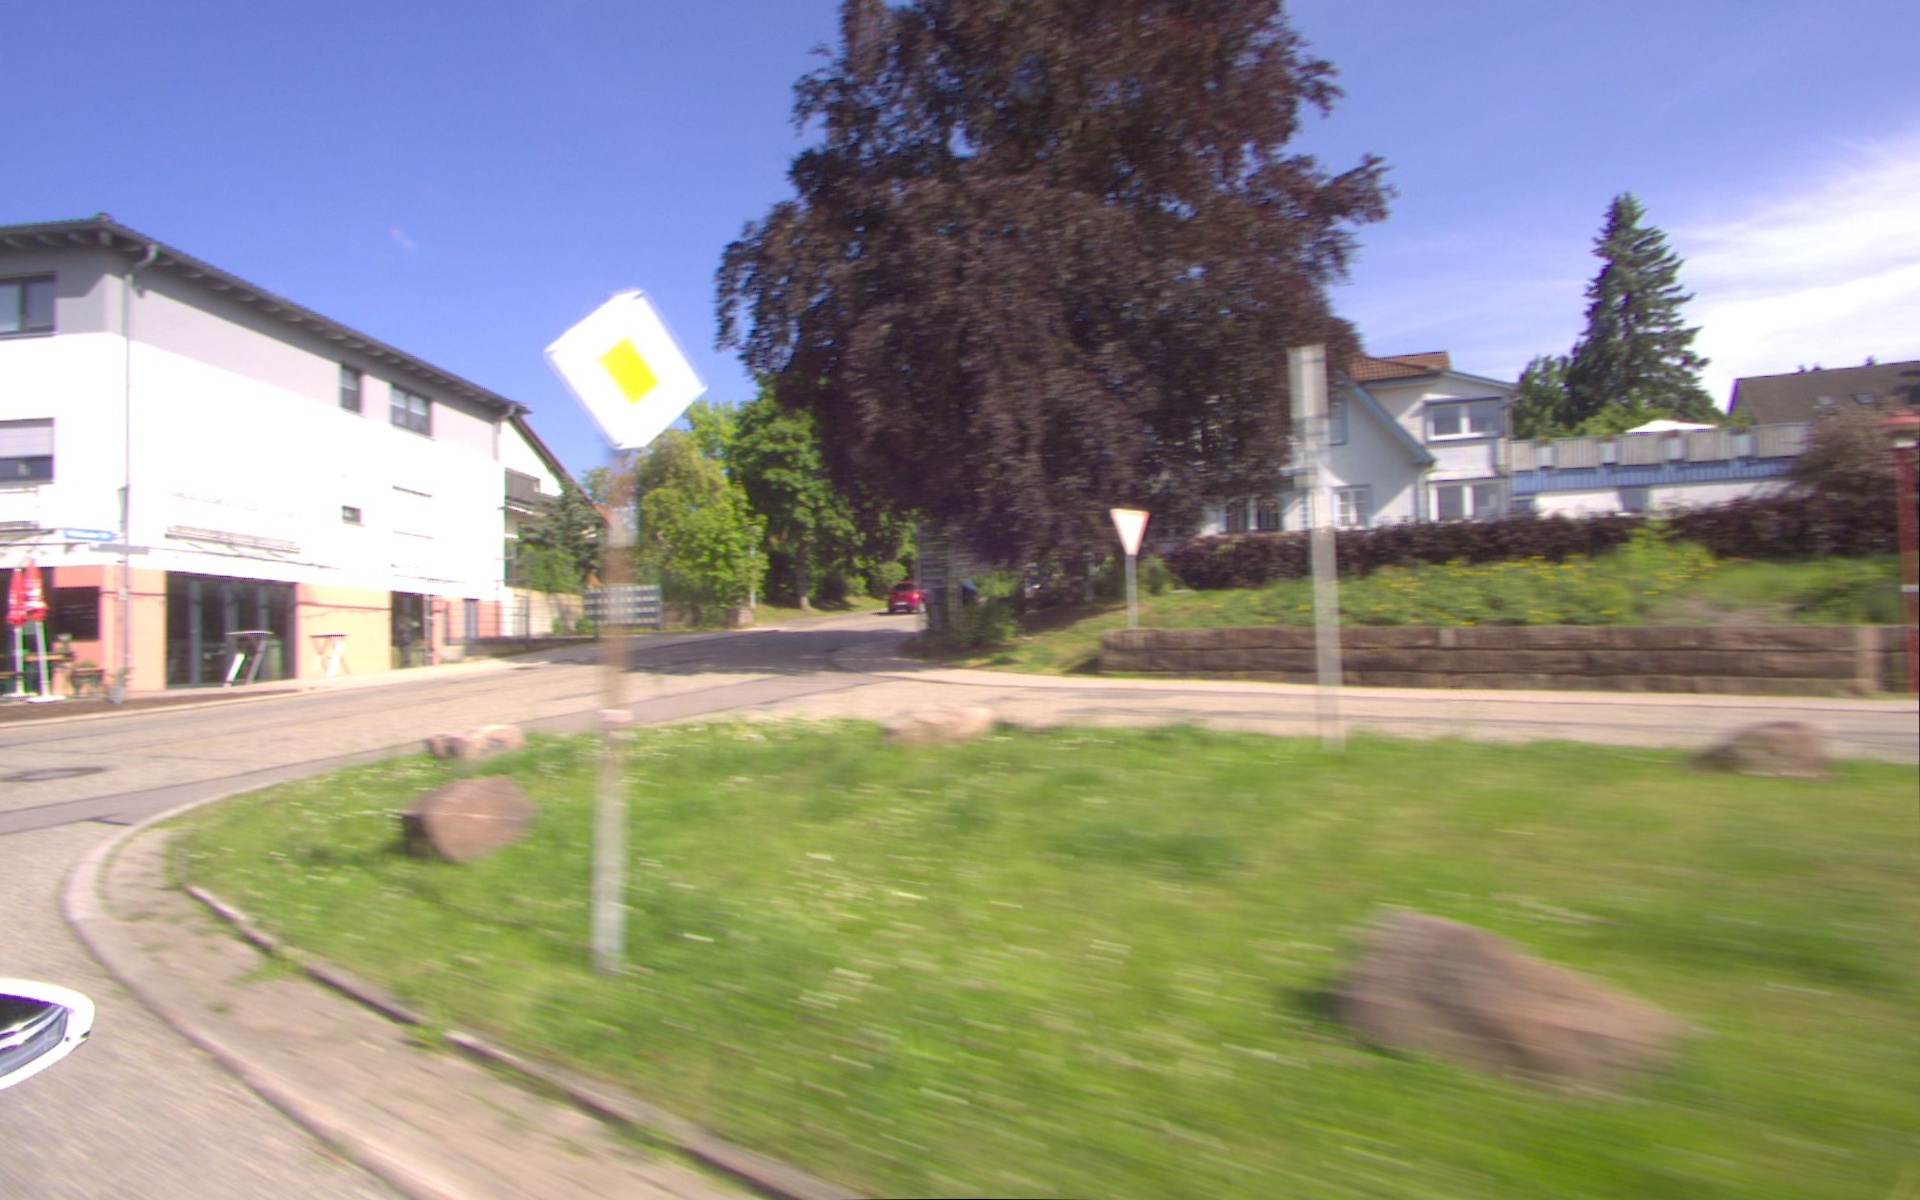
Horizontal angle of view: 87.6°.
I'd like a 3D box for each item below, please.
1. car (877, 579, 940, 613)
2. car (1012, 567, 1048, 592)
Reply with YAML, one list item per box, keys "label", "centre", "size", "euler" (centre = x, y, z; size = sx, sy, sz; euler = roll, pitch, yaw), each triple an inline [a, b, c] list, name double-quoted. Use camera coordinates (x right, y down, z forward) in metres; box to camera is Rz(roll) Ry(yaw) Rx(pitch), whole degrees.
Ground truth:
- label: "car"
  centre: [-2.390, -0.205, 47.224]
  size: [1.710, 1.484, 3.261]
  euler: [-1, 2, 22]
- label: "car"
  centre: [4.947, -1.452, 70.692]
  size: [1.693, 1.641, 3.923]
  euler: [-1, 1, 17]
